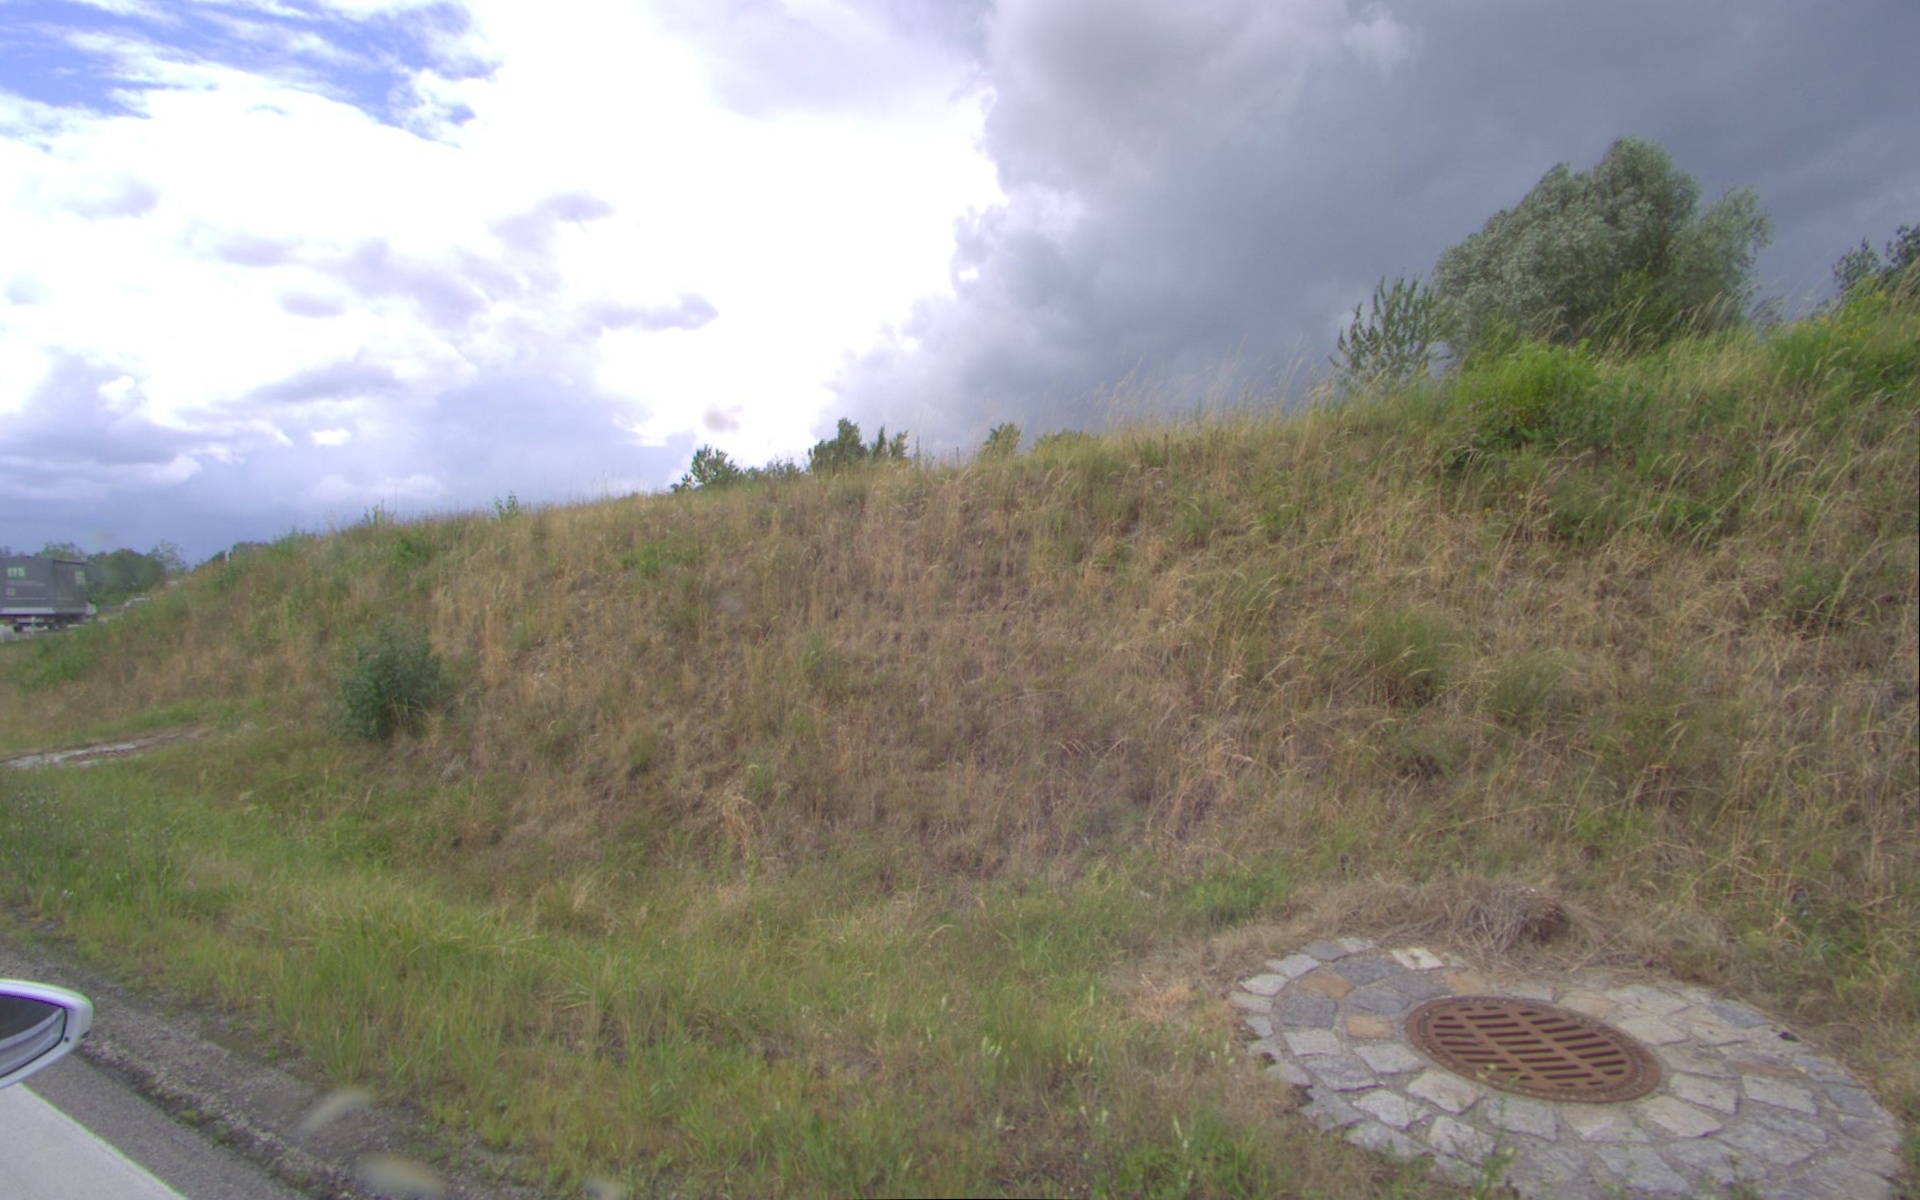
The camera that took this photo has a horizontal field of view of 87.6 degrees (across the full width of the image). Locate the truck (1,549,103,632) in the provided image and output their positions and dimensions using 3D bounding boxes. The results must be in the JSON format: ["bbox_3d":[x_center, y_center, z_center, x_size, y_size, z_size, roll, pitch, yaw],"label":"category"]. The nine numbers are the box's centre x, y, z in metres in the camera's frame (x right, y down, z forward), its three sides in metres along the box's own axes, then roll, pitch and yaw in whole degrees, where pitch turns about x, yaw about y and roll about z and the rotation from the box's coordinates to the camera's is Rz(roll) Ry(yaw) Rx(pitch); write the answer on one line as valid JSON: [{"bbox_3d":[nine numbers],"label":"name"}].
[{"bbox_3d":[-46.738,-0.375,51.723,2.201,3.956,5.995,0,-2,-25],"label":"truck"}]

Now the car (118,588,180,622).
[{"bbox_3d":[-51.173,0.370,63.276,1.967,2.039,3.989,0,-2,-23],"label":"car"}]
